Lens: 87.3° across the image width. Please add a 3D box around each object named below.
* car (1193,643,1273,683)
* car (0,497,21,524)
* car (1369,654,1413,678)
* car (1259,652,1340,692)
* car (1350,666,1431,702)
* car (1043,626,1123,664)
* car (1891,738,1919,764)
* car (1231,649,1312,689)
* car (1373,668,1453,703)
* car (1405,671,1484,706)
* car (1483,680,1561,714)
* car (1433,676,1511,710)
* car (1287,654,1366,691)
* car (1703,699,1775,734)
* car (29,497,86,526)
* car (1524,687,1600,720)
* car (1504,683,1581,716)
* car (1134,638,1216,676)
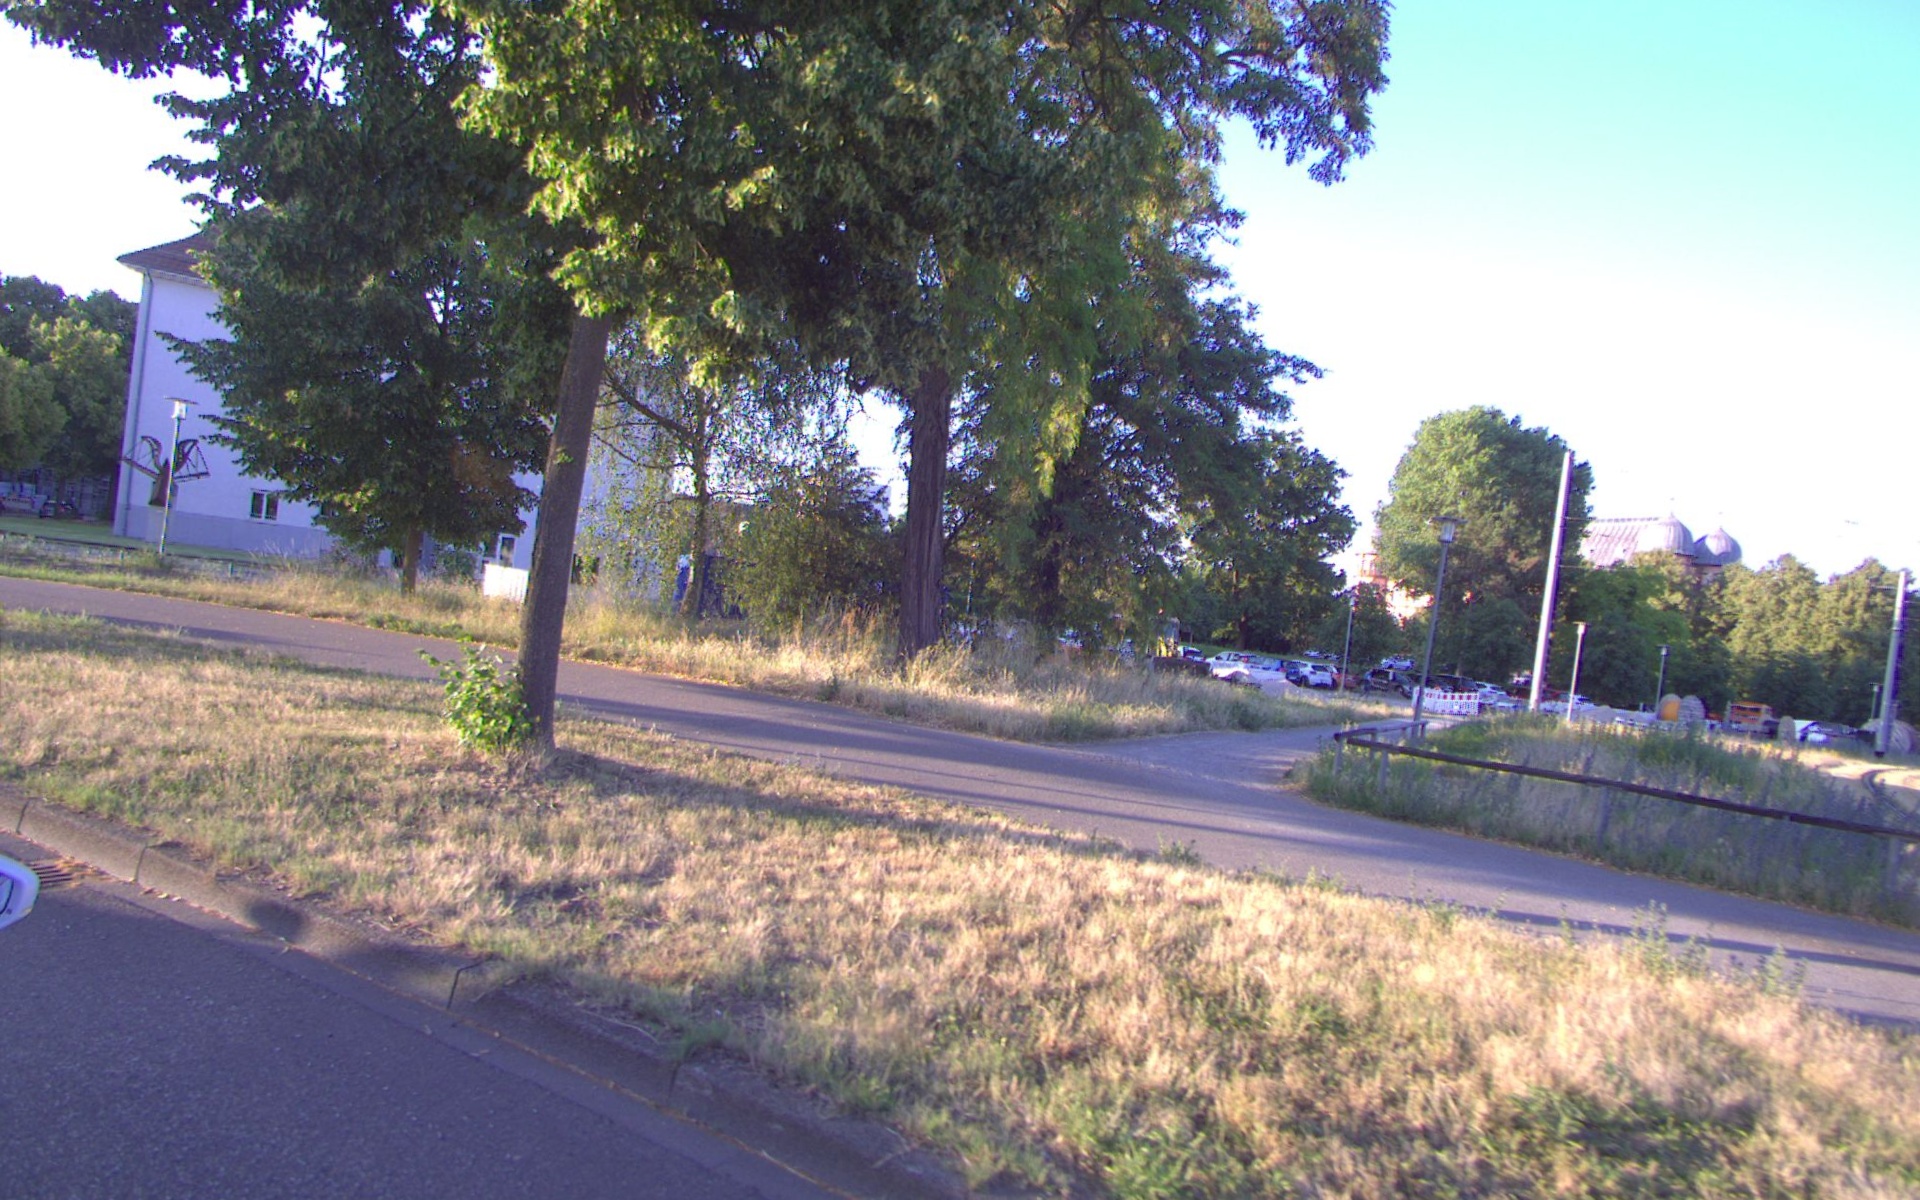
[{"bbox_3d":[15.159,3.500,56.011,1.932,1.682,3.969,7,-1,-30],"label":"car"},{"bbox_3d":[-61.828,-5.848,63.865,1.933,1.621,4.054,8,-1,-25],"label":"car"},{"bbox_3d":[44.577,6.821,103.961,3.956,1.765,1.986,9,0,-28],"label":"car"},{"bbox_3d":[19.428,4.118,57.740,1.932,1.682,3.969,7,-1,-30],"label":"car"},{"bbox_3d":[25.979,5.048,60.774,1.883,1.572,4.068,7,-1,-30],"label":"car"},{"bbox_3d":[6.187,2.260,51.164,1.932,1.463,3.969,7,-1,-30],"label":"car"},{"bbox_3d":[64.783,10.314,67.030,1.695,1.499,3.579,9,0,-33],"label":"car"},{"bbox_3d":[17.507,3.883,56.688,1.932,1.682,3.969,7,-1,-30],"label":"car"},{"bbox_3d":[27.605,5.202,61.456,1.883,1.572,3.969,7,-1,-30],"label":"car"},{"bbox_3d":[30.317,5.525,63.002,1.883,1.572,3.969,7,-1,-30],"label":"car"},{"bbox_3d":[36.942,6.367,66.173,1.883,1.572,3.969,7,-1,-30],"label":"car"},{"bbox_3d":[32.814,5.931,64.548,1.883,1.572,3.969,7,-1,-30],"label":"car"},{"bbox_3d":[21.529,4.257,59.204,1.883,1.572,3.969,7,-1,-30],"label":"car"},{"bbox_3d":[62.276,9.331,80.485,1.883,2.121,3.969,7,-1,-30],"label":"car"},{"bbox_3d":[-67.546,-6.592,75.370,1.933,1.621,4.054,8,-1,-25],"label":"car"},{"bbox_3d":[41.063,7.033,68.716,1.883,1.572,3.969,7,-1,-30],"label":"car"},{"bbox_3d":[39.009,6.644,67.447,1.883,1.572,3.969,7,-1,-30],"label":"car"},{"bbox_3d":[11.315,3.002,53.178,1.932,1.463,3.969,7,-1,-30],"label":"car"}]
